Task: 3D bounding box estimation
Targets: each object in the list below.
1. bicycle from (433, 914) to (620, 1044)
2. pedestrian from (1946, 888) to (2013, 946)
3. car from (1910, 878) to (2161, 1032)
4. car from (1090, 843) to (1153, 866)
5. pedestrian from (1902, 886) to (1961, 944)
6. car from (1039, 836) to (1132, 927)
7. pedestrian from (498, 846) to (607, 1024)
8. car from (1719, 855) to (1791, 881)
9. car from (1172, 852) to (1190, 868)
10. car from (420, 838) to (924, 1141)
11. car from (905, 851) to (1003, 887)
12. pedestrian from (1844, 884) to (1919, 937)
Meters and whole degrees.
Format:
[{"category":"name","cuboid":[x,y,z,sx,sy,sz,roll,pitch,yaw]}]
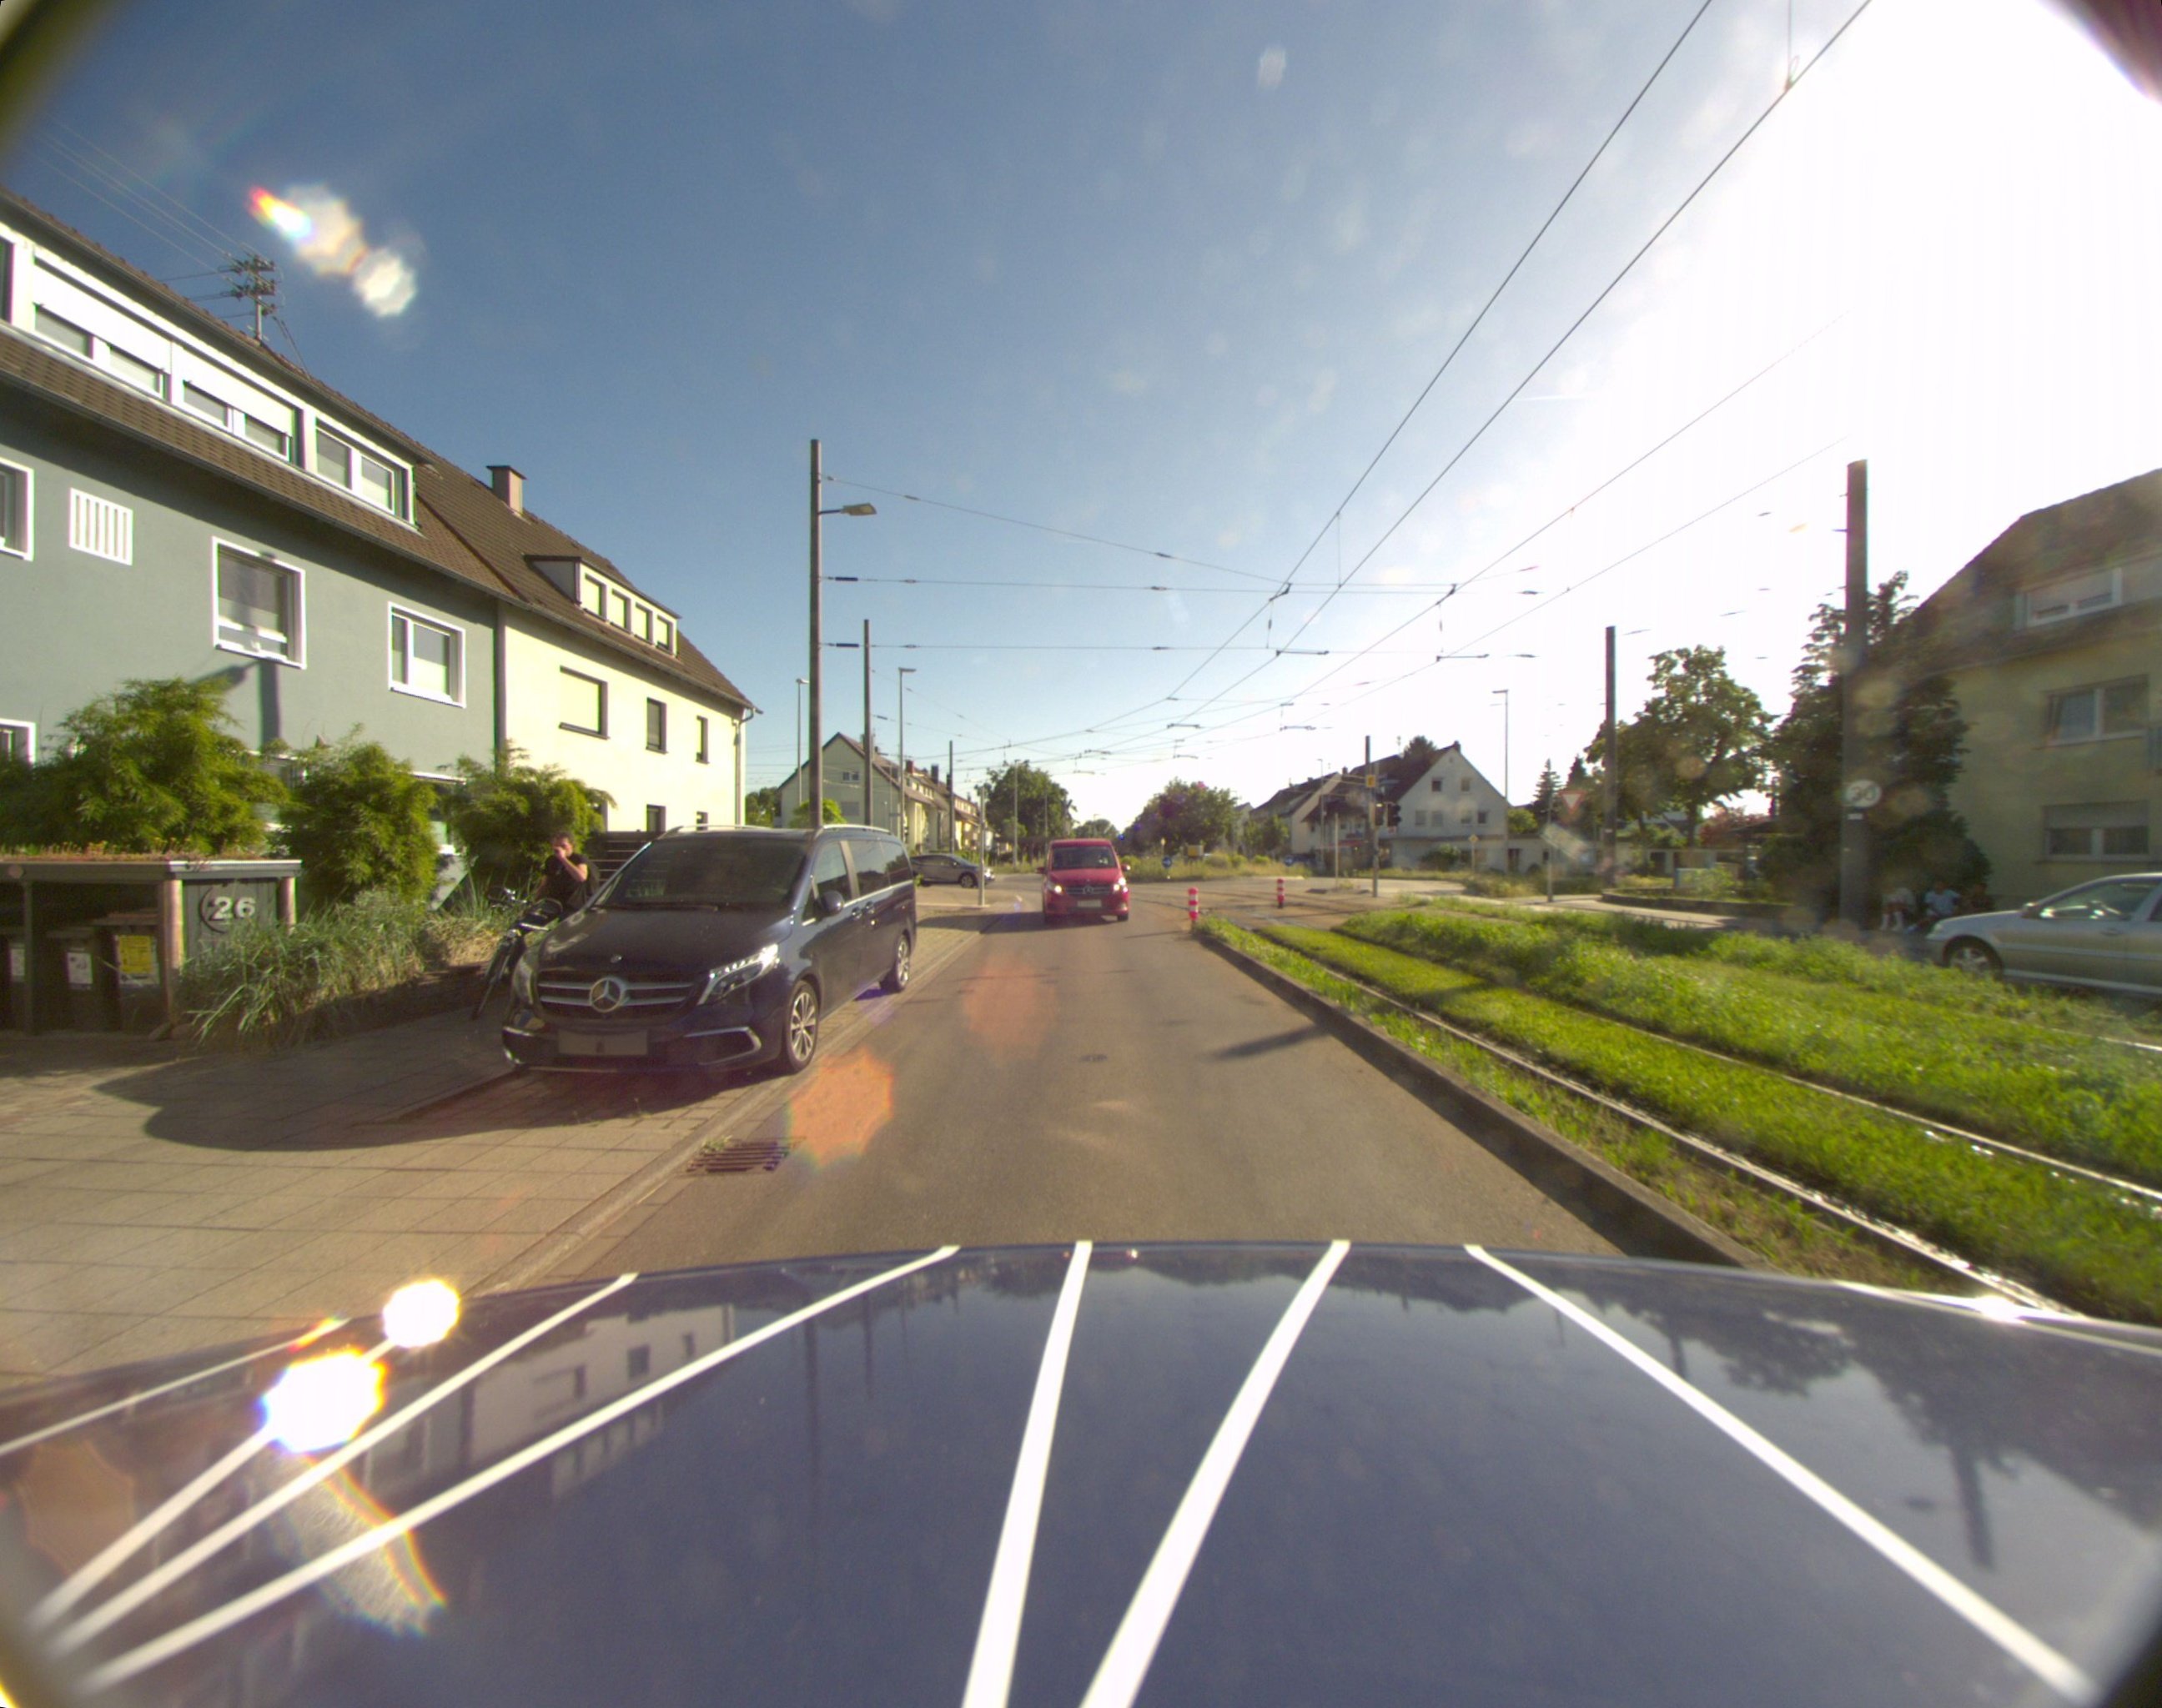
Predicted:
[{"category":"bicycle","cuboid":[-5.294,1.147,7.379,0.602,0.974,1.562,2,1,3]},{"category":"pedestrian","cuboid":[17.038,1.181,14.416,0.725,1.000,0.594,-1,2,-23]},{"category":"car","cuboid":[11.136,1.009,7.692,1.553,1.403,3.659,0,0,2]},{"category":"car","cuboid":[2.994,0.015,56.895,4.427,1.572,1.840,2,3,38]},{"category":"pedestrian","cuboid":[16.892,1.191,15.096,0.821,1.059,0.625,-1,3,-32]},{"category":"car","cuboid":[0.011,0.607,19.788,1.999,1.970,5.236,-3,0,-2]},{"category":"pedestrian","cuboid":[-5.295,0.776,7.652,0.584,1.713,0.714,0,1,2]},{"category":"car","cuboid":[48.595,0.978,54.924,1.997,1.685,4.053,1,2,9]},{"category":"car","cuboid":[13.640,0.735,103.726,1.895,2.003,4.369,0,2,-1]},{"category":"car","cuboid":[-2.976,0.810,7.051,1.966,1.825,4.927,0,0,1]},{"category":"car","cuboid":[-5.704,0.646,34.431,3.994,1.570,1.832,0,0,10]},{"category":"pedestrian","cuboid":[16.828,1.180,15.986,0.819,1.040,0.687,0,1,-2]}]
